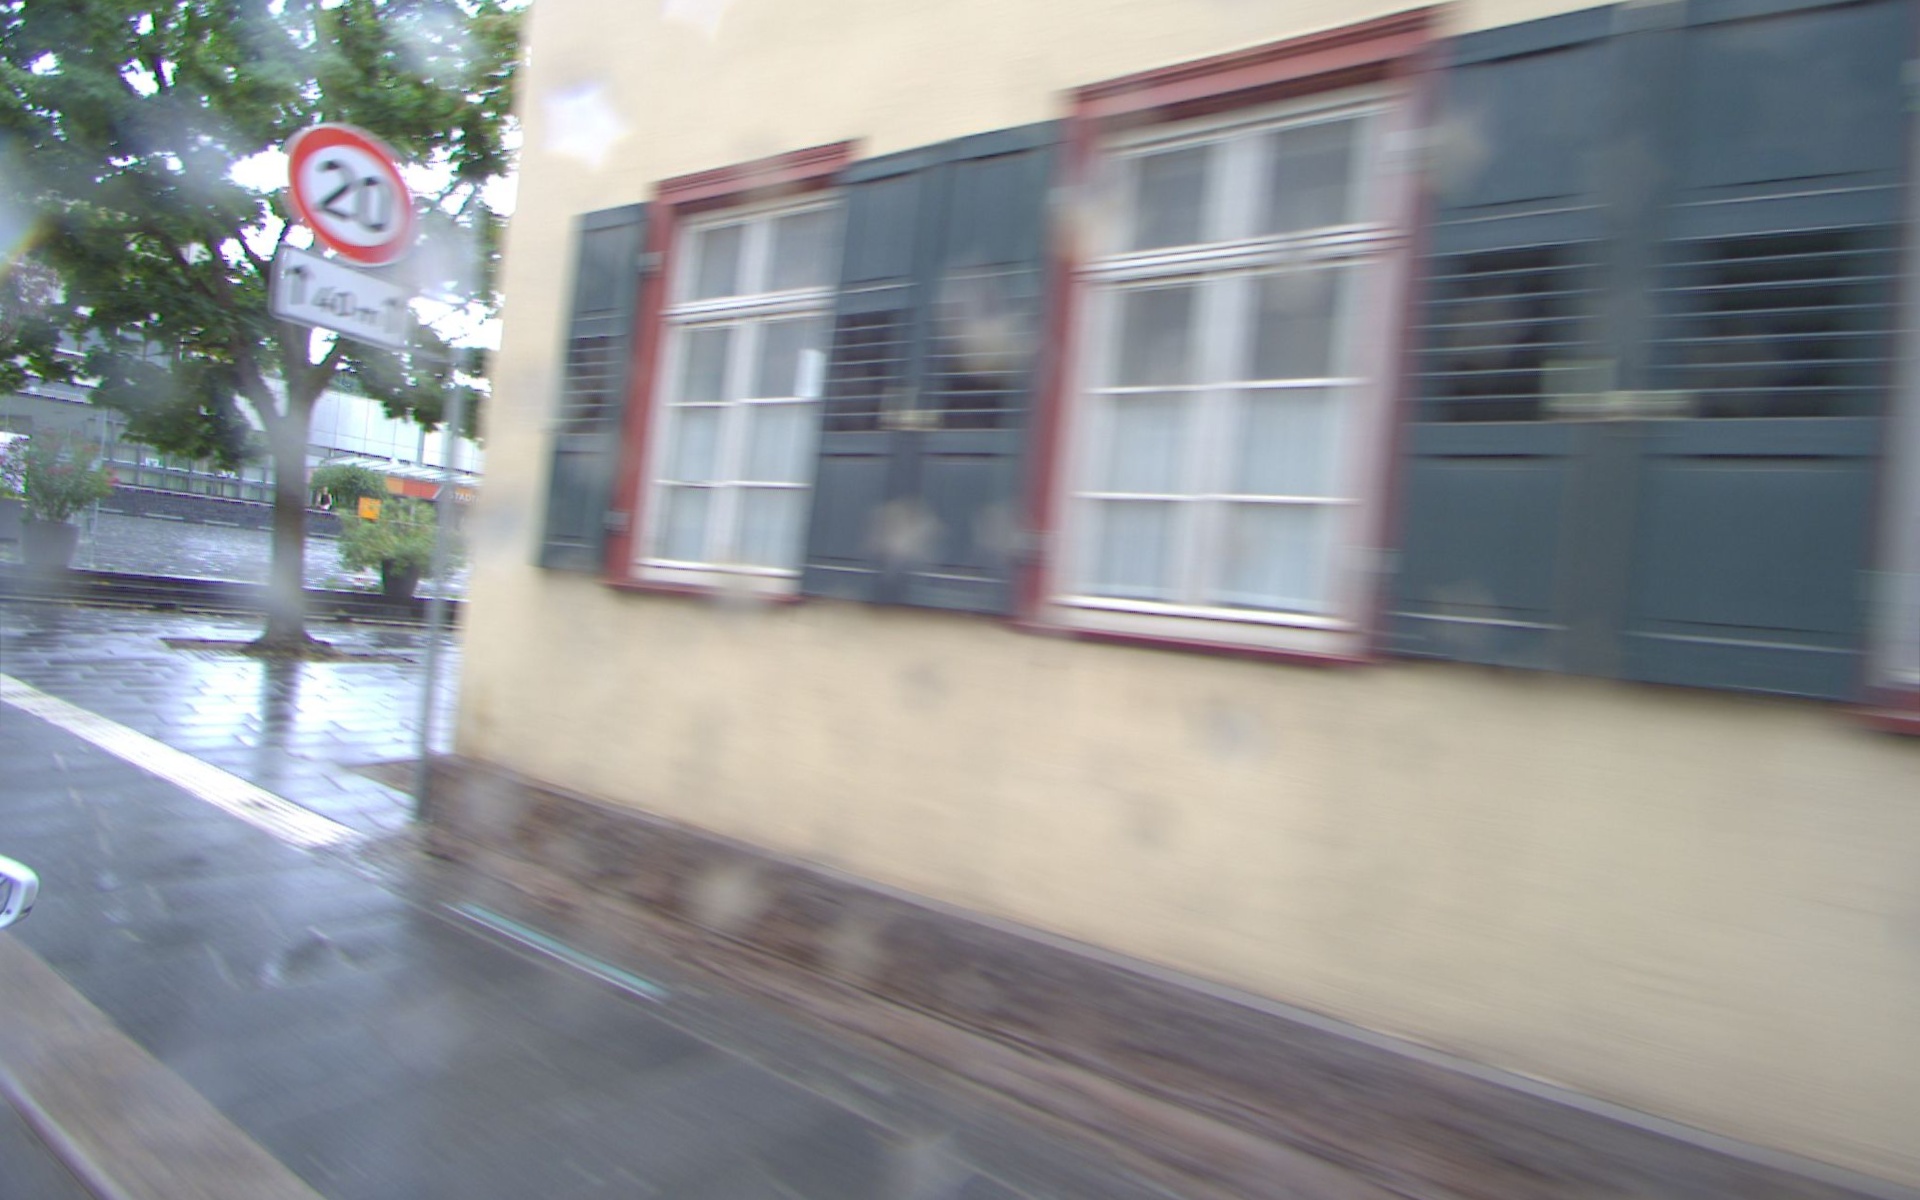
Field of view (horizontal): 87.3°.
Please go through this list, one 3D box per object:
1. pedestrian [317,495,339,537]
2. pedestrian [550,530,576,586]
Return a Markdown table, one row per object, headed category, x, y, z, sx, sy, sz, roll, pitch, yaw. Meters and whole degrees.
| category | x | y | z | sx | sy | sz | roll | pitch | yaw |
| --- | --- | --- | --- | --- | --- | --- | --- | --- | --- |
| pedestrian | -34.008 | -4.528 | 54.106 | 0.754 | 2.175 | 0.651 | 4 | 2 | -41 |
| pedestrian | -18.262 | -1.946 | 46.237 | 0.562 | 2.471 | 0.732 | 8 | 2 | 44 |
